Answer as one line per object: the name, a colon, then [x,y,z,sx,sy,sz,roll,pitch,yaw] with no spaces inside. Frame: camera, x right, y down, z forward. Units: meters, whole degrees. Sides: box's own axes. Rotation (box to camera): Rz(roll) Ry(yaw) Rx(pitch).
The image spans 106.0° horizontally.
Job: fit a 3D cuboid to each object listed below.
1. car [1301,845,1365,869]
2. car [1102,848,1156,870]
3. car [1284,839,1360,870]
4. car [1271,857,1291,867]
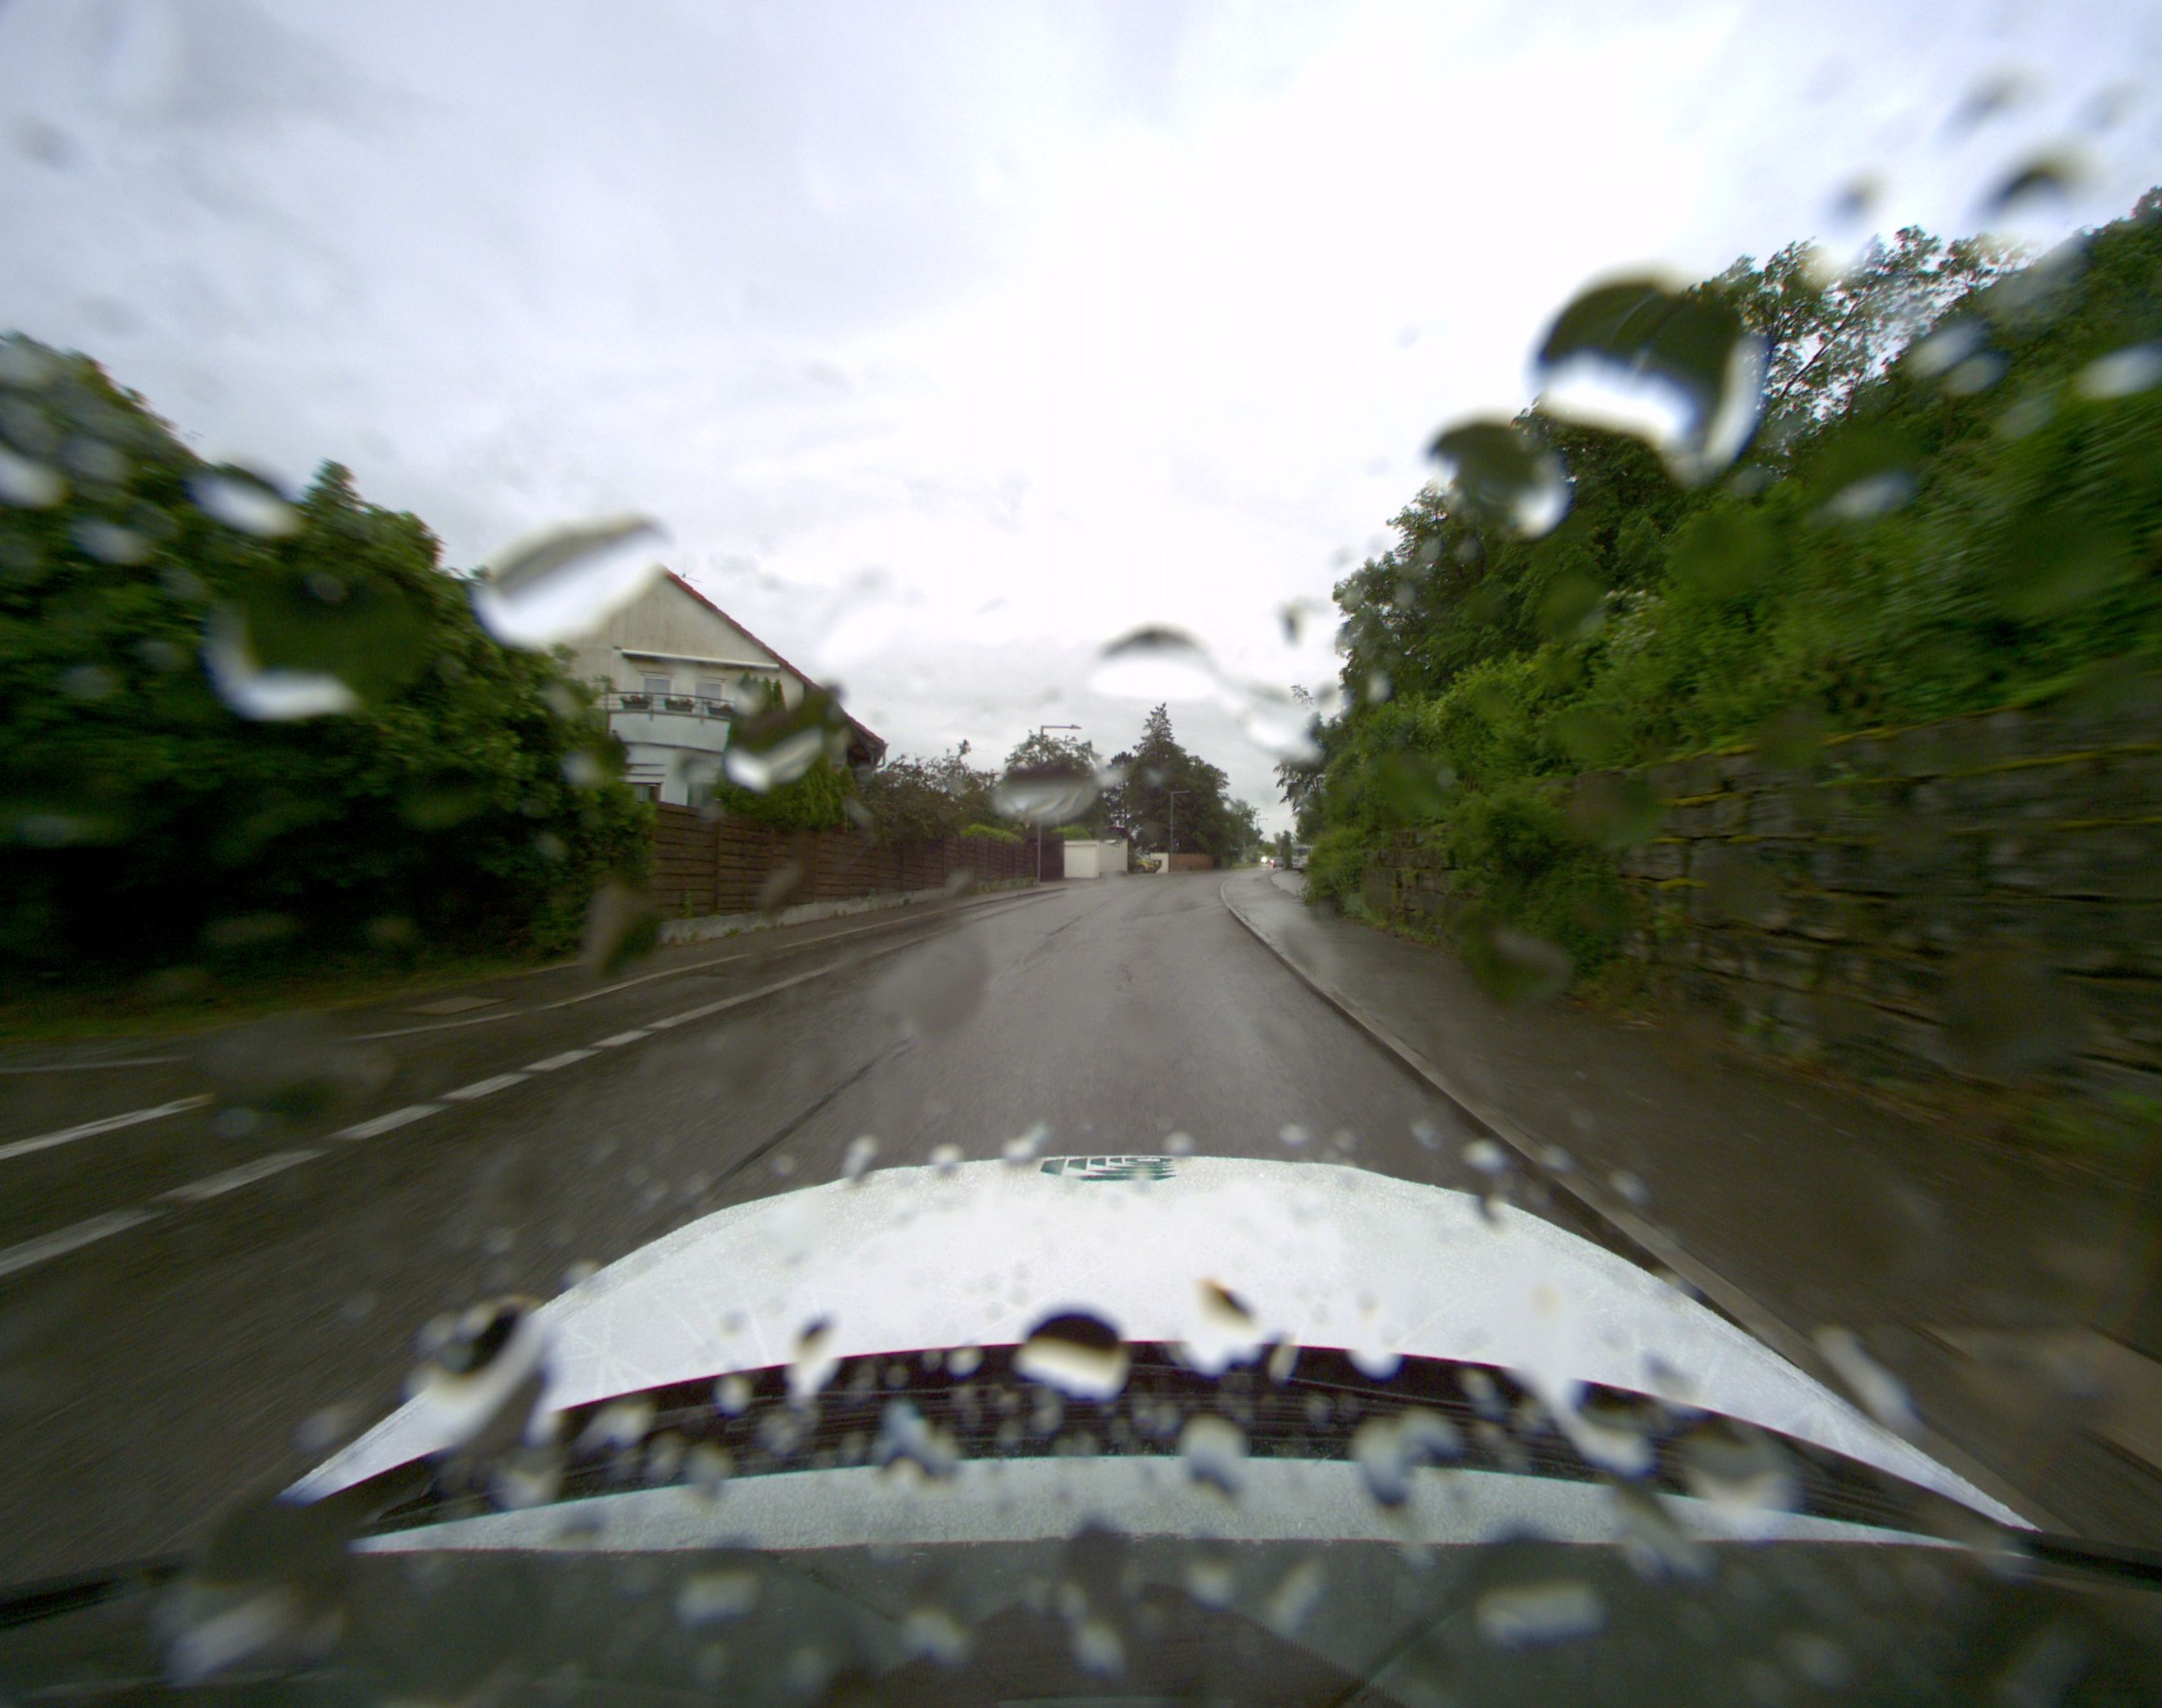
car: [16.112,0.193,52.082,3.807,1.348,1.745,-2,-1,-30]
car: [4.432,0.436,74.700,4.464,1.860,2.100,-2,0,21]
car: [16.398,0.012,55.300,4.856,1.940,2.136,-2,0,-29]
car: [30.717,1.251,124.981,1.817,1.511,4.645,-2,-1,27]
